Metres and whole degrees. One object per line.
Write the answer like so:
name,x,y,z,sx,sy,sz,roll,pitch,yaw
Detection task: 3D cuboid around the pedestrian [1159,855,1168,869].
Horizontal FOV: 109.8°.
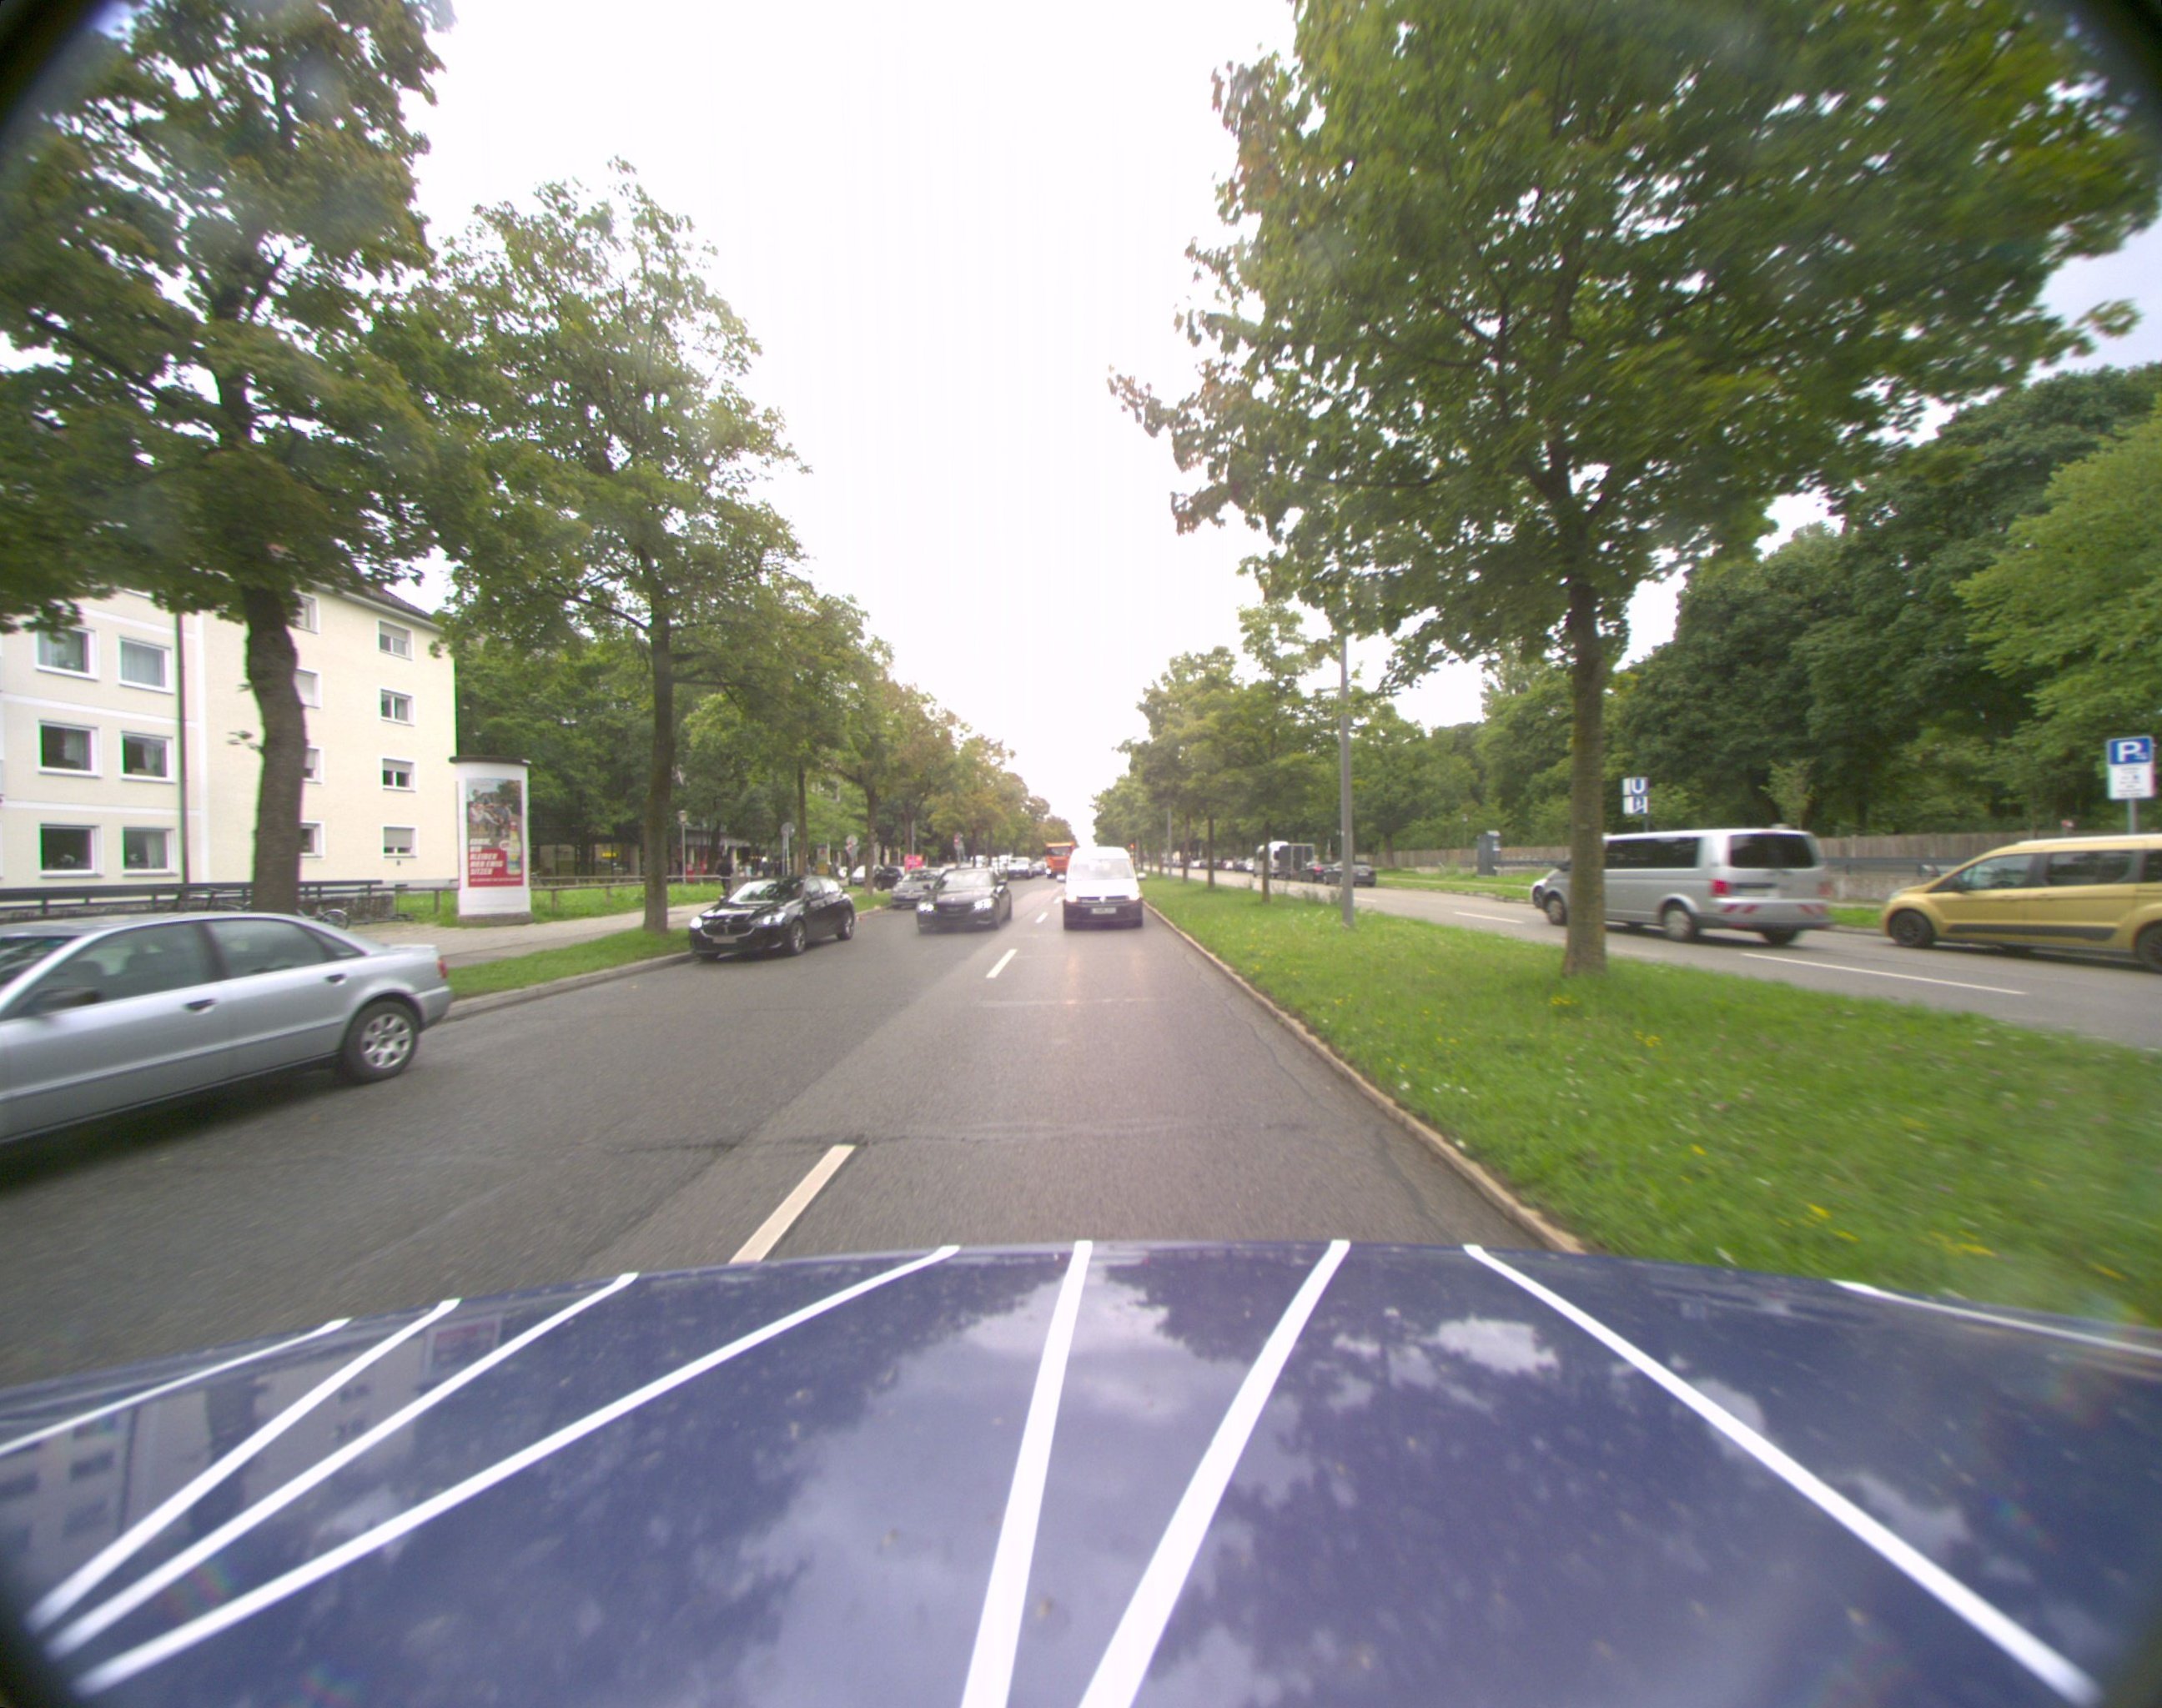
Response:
pedestrian,9.801,0.949,89.925,0.872,1.689,0.771,0,2,21

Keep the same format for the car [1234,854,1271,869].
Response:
car,19.697,0.869,87.105,4.006,1.477,1.797,-3,-1,-33

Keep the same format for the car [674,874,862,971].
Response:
car,-5.833,1.197,14.781,1.755,1.457,4.177,-2,0,2

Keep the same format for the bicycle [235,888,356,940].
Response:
bicycle,-16.259,1.227,15.749,1.883,1.022,0.432,0,1,-7

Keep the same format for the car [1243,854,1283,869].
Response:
car,20.164,0.813,84.114,4.331,1.564,1.797,-2,1,-33

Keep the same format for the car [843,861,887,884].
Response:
car,-15.720,1.331,55.599,1.826,1.624,4.199,0,0,3

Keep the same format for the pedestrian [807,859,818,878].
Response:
pedestrian,-22.253,1.228,62.918,0.658,1.533,0.633,2,1,41

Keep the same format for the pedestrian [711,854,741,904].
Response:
pedestrian,-12.447,0.872,26.663,0.641,1.739,0.849,1,0,-1

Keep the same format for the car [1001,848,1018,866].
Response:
car,-11.483,0.456,122.000,1.978,2.641,6.006,-2,0,1

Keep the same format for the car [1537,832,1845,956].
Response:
car,10.994,0.618,14.331,1.804,1.922,4.993,0,0,0

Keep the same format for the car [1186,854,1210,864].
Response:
car,20.101,0.852,130.480,4.006,1.718,1.777,-2,1,-33

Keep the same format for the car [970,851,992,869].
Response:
car,-14.645,0.919,111.221,2.268,2.514,5.858,-1,0,1

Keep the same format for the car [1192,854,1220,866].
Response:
car,19.820,0.957,120.604,4.006,1.548,1.887,-3,-1,-31

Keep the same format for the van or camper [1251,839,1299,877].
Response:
van or camper,15.468,0.287,61.000,2.040,2.821,7.547,0,0,1

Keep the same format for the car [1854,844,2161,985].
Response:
car,14.507,0.772,11.004,1.818,1.772,4.818,0,0,2

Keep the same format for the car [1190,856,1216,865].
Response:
car,19.851,1.036,123.864,4.006,1.358,1.588,-2,1,-29

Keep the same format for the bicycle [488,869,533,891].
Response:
bicycle,-26.601,1.216,35.454,1.696,0.965,0.455,-1,0,-3

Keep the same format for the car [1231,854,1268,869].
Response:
car,20.017,0.851,90.065,4.005,1.577,1.798,-3,0,-28

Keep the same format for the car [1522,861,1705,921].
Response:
car,15.003,0.966,21.843,1.861,1.464,4.875,0,0,0

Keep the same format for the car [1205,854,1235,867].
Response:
car,19.895,0.917,108.659,4.006,1.548,1.887,-3,-1,-31

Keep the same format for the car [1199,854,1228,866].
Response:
car,20.066,0.919,115.060,4.006,1.548,1.887,-3,-1,-31

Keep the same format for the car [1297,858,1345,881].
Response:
car,15.434,0.988,49.066,1.804,1.376,4.238,0,0,1

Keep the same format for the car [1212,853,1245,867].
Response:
car,19.836,0.811,102.435,4.005,1.548,1.888,-3,0,-26

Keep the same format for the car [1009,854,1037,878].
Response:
car,-5.054,1.045,66.887,1.885,1.916,4.933,-2,0,1

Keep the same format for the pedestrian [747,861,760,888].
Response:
pedestrian,-19.449,1.217,45.101,0.581,1.565,0.779,-2,1,-31

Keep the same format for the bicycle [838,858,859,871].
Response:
bicycle,-27.578,1.213,90.127,2.313,1.523,0.649,-1,0,1

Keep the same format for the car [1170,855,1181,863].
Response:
car,19.067,0.968,153.566,1.889,1.435,4.170,-2,0,5

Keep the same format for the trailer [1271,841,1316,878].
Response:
trailer,15.325,0.403,54.946,2.022,2.575,4.659,0,0,1

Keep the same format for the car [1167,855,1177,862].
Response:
car,19.412,0.913,161.881,1.889,1.435,4.170,-2,0,5

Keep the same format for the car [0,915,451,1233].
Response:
car,-6.264,1.241,4.452,1.640,1.377,4.243,-2,0,-2

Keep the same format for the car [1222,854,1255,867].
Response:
car,20.595,0.833,99.433,4.005,1.446,1.737,-3,0,-26

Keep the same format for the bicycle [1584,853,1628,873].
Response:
bicycle,25.826,0.438,37.381,1.824,0.924,0.433,-2,1,0

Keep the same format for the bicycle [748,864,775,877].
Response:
bicycle,-27.912,1.444,66.393,2.080,1.114,0.455,-1,0,1

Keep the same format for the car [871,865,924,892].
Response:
car,-10.517,1.383,43.803,1.726,1.371,4.352,-2,0,3

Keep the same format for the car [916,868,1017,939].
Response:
car,-2.695,1.127,18.828,1.763,1.405,4.462,-2,0,0

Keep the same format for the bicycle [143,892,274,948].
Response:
bicycle,-16.432,1.234,14.328,1.882,1.022,0.432,0,1,-2

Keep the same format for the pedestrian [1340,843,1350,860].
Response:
pedestrian,28.209,-0.240,81.132,0.770,1.757,0.874,0,1,-3

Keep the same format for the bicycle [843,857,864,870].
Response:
bicycle,-27.599,1.156,92.193,2.313,1.613,0.649,-1,0,1

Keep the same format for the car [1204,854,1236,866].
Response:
car,19.239,0.820,105.012,4.006,1.548,1.887,-3,-1,-31

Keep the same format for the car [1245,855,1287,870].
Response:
car,19.615,0.895,80.463,4.331,1.430,1.797,-2,1,-33

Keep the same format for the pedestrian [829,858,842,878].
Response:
pedestrian,-19.627,1.151,60.785,0.657,1.584,0.755,1,1,20

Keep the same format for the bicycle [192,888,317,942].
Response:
bicycle,-16.502,1.202,15.193,1.883,1.022,0.432,0,1,-5

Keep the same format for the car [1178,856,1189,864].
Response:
car,19.049,1.052,141.671,1.889,1.435,4.170,-2,0,5

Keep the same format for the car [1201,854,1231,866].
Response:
car,19.771,0.882,111.590,4.006,1.548,1.887,-3,-1,-31

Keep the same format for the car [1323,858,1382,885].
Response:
car,15.131,0.954,42.590,1.804,1.417,4.431,0,0,1

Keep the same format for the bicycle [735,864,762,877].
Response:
bicycle,-28.624,1.423,65.439,2.080,1.114,0.455,-1,0,1

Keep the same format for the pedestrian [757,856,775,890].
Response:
pedestrian,-15.850,0.950,38.210,0.642,1.720,0.599,-3,1,-35

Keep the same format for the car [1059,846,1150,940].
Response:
car,0.470,0.793,17.591,1.750,1.807,4.667,-2,0,0

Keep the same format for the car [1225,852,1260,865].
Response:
car,20.479,0.610,96.385,4.005,1.455,1.888,-3,0,-26

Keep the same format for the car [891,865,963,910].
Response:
car,-5.729,1.204,28.708,1.686,1.457,4.115,-2,0,2

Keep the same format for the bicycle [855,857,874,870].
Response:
bicycle,-27.682,1.236,97.106,2.316,1.613,0.648,-1,0,-16

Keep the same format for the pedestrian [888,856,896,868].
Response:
pedestrian,-26.071,1.126,104.824,0.872,1.689,0.771,0,1,15

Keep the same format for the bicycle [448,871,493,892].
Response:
bicycle,-28.386,1.272,35.343,1.696,0.965,0.455,-1,0,-3

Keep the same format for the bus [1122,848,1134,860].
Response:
bus,12.904,-0.093,209.589,2.676,3.279,11.926,1,0,2

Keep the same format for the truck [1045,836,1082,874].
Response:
truck,-1.519,0.084,71.269,3.046,3.170,9.133,-2,0,1
